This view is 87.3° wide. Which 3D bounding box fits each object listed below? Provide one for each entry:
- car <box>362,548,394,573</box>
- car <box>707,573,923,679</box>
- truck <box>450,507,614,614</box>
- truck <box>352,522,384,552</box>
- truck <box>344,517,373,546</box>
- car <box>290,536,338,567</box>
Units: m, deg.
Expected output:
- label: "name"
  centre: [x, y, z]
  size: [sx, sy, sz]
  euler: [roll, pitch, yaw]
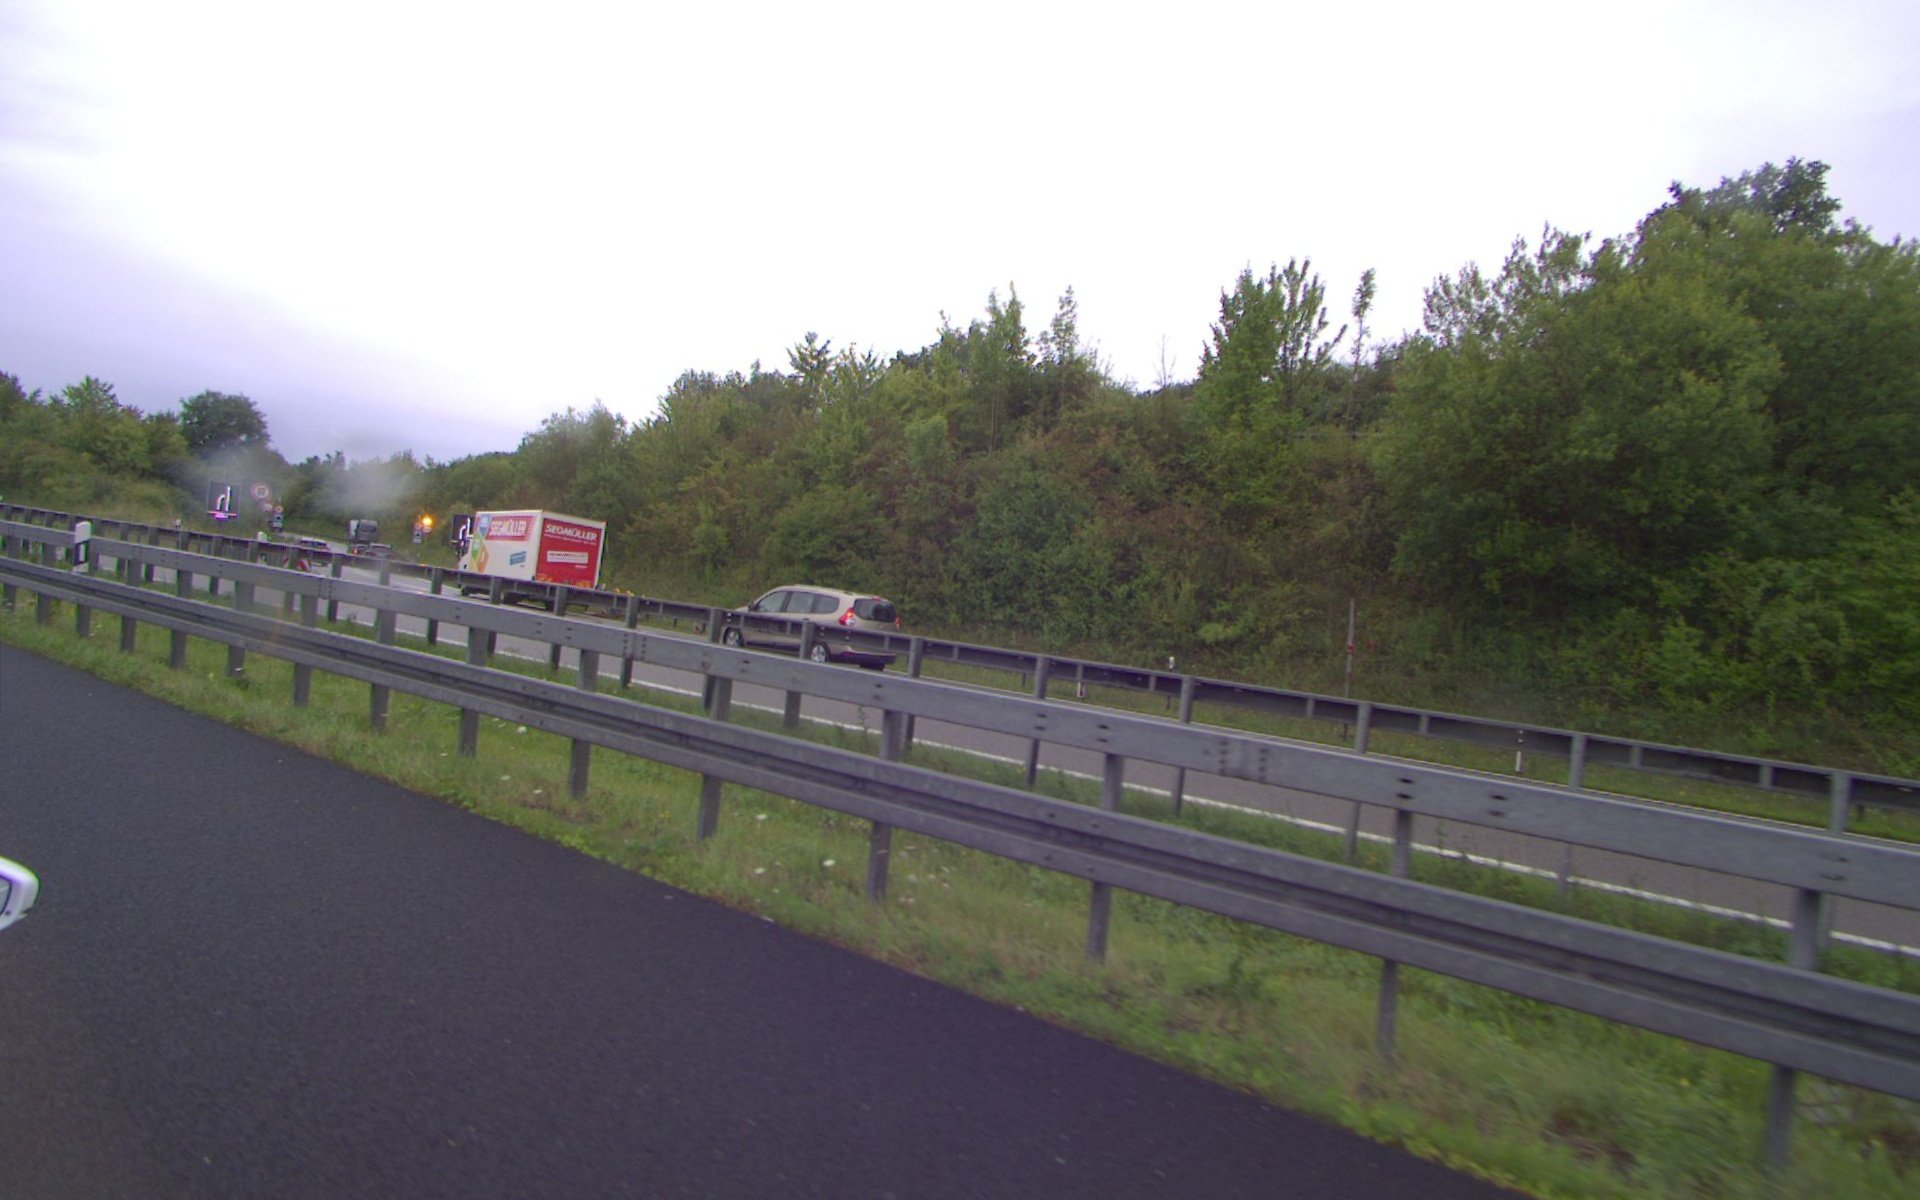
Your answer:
- label: "car"
  centre: [-41.550, -2.835, 71.833]
  size: [1.846, 1.464, 4.126]
  euler: [7, -1, -30]
- label: "car"
  centre: [-3.132, 0.511, 21.328]
  size: [4.406, 1.678, 1.860]
  euler: [6, -1, 38]
- label: "truck"
  centre: [-16.847, -1.648, 39.185]
  size: [2.889, 3.435, 8.870]
  euler: [8, -1, -42]
- label: "truck"
  centre: [-63.302, -6.700, 107.665]
  size: [2.419, 2.737, 5.530]
  euler: [7, -1, -27]
- label: "truck"
  centre: [-68.977, -7.808, 115.462]
  size: [2.227, 2.913, 8.115]
  euler: [7, -1, -28]
- label: "car"
  centre: [-38.467, -2.901, 59.836]
  size: [1.852, 1.464, 4.113]
  euler: [8, -1, -39]
